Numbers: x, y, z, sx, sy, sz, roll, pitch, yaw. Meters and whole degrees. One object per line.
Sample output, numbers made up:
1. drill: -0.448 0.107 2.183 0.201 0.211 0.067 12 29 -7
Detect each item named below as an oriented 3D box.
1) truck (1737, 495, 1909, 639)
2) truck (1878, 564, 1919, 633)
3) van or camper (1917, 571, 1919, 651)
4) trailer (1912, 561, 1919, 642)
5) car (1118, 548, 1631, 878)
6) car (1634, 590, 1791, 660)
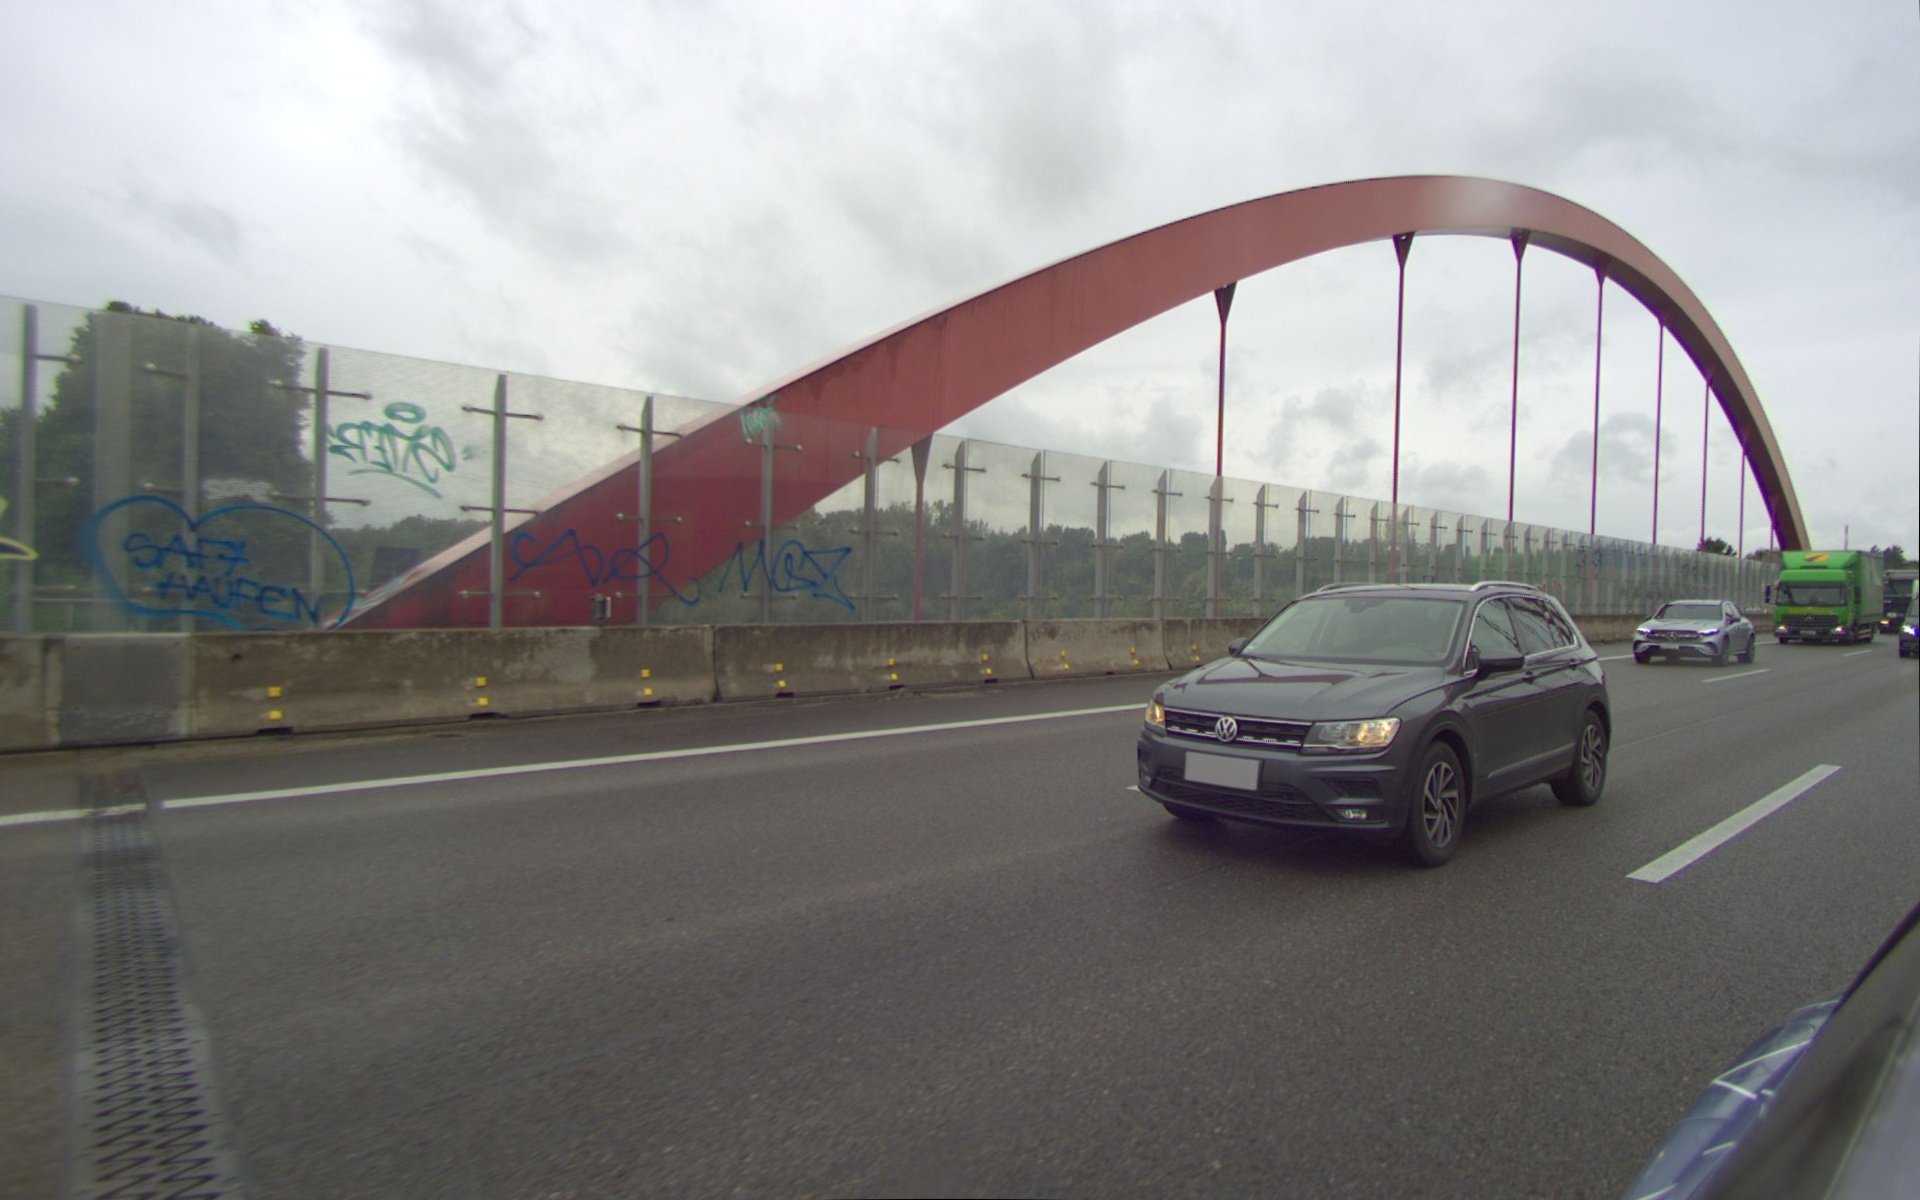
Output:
1. truck: 36.595 -1.249 42.712 11.024 5.333 4.004 0 0 -41
2. truck: 60.068 -0.126 63.535 12.504 3.999 2.815 0 2 -44
3. van or camper: 30.347 0.325 30.459 5.583 2.298 1.893 0 0 -43
4. trailer: 35.145 0.102 34.927 7.382 2.675 2.725 1 1 -42
5. car: 3.149 0.570 7.269 4.034 1.691 1.914 0 0 -43
6. car: 19.602 0.574 26.276 5.230 1.639 1.998 0 0 -38
